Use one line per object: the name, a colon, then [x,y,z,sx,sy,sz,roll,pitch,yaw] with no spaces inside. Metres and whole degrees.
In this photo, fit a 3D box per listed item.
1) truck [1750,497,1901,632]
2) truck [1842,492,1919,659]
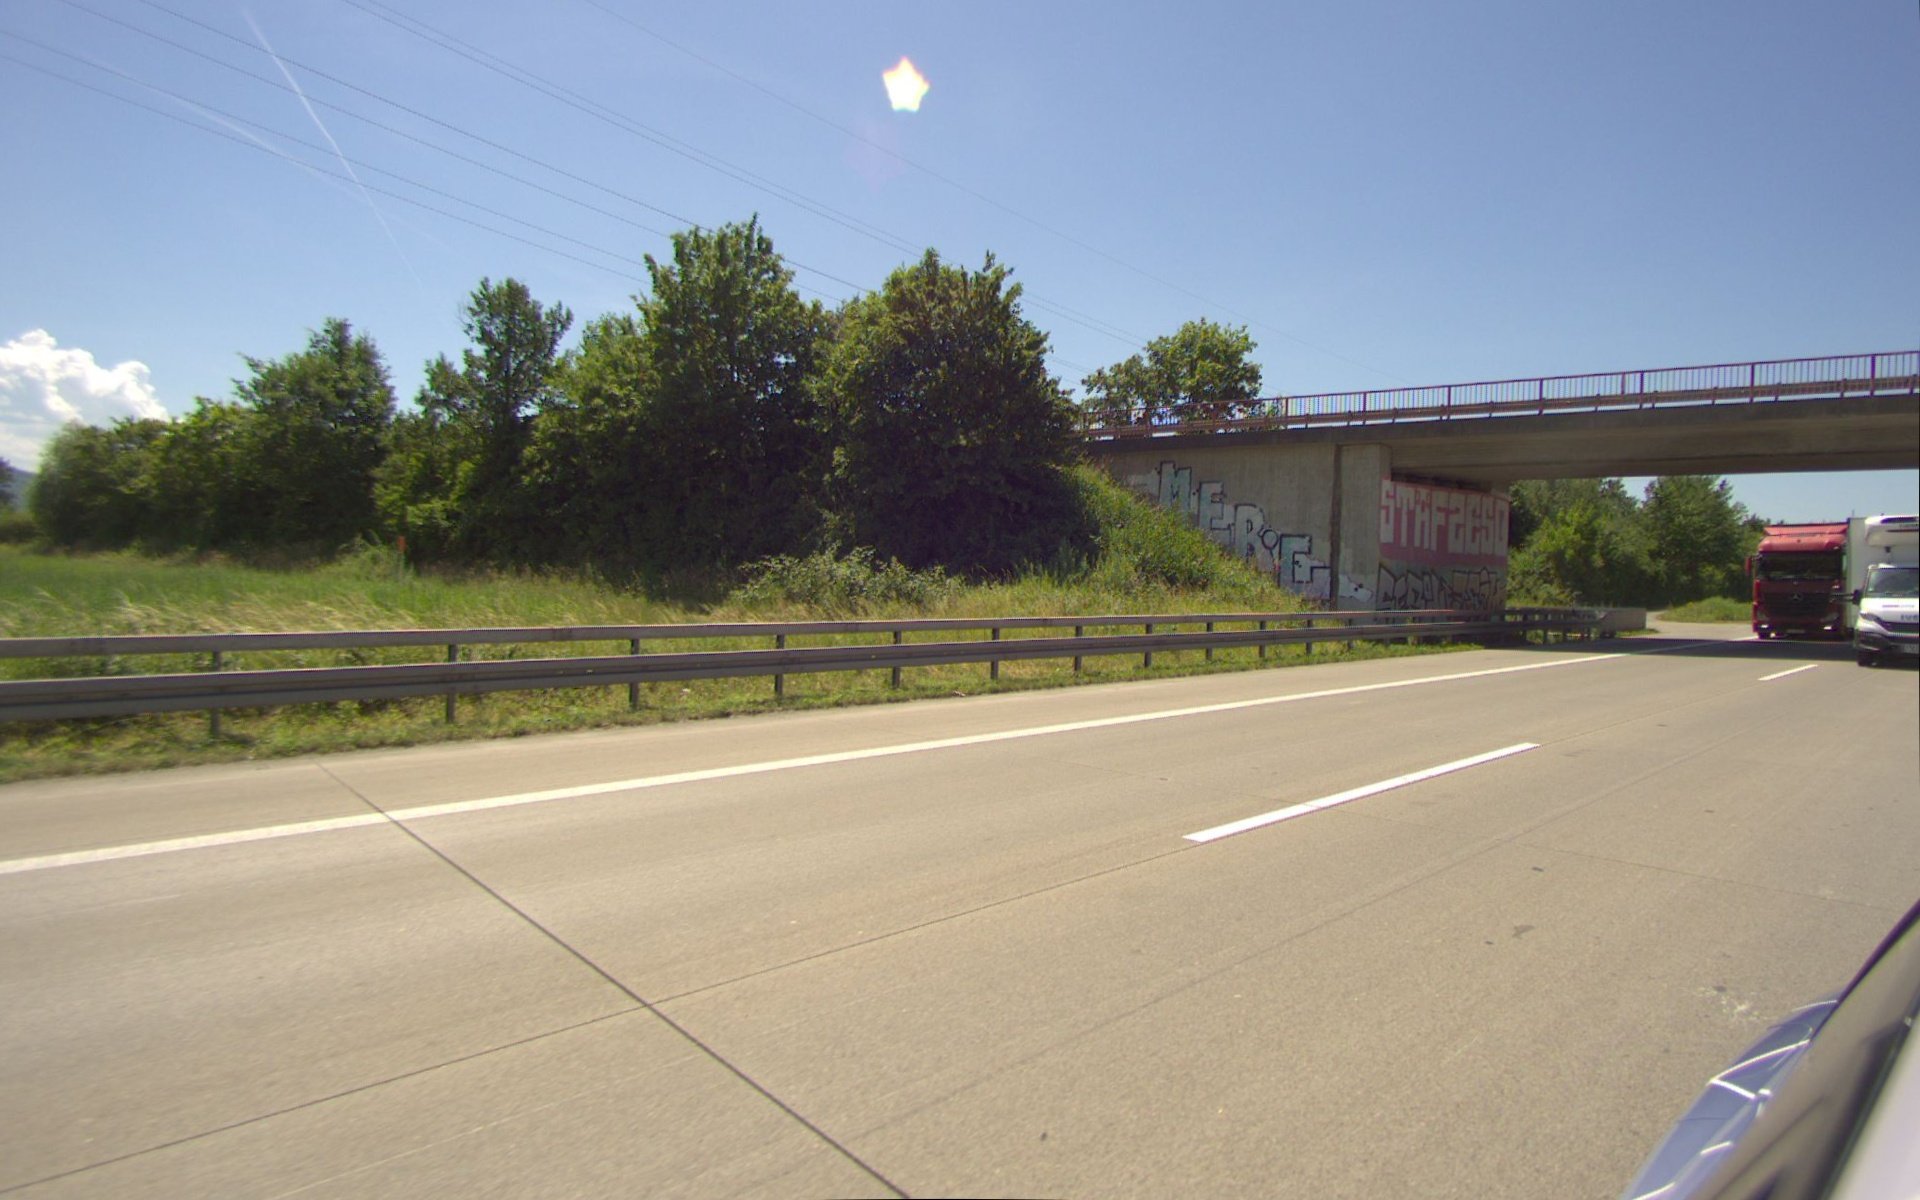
truck: [32.123,-1.203,37.349,10.699,4.377,2.852,-1,0,-42]
truck: [22.478,-0.543,22.966,7.679,3.390,2.781,-1,0,-42]
